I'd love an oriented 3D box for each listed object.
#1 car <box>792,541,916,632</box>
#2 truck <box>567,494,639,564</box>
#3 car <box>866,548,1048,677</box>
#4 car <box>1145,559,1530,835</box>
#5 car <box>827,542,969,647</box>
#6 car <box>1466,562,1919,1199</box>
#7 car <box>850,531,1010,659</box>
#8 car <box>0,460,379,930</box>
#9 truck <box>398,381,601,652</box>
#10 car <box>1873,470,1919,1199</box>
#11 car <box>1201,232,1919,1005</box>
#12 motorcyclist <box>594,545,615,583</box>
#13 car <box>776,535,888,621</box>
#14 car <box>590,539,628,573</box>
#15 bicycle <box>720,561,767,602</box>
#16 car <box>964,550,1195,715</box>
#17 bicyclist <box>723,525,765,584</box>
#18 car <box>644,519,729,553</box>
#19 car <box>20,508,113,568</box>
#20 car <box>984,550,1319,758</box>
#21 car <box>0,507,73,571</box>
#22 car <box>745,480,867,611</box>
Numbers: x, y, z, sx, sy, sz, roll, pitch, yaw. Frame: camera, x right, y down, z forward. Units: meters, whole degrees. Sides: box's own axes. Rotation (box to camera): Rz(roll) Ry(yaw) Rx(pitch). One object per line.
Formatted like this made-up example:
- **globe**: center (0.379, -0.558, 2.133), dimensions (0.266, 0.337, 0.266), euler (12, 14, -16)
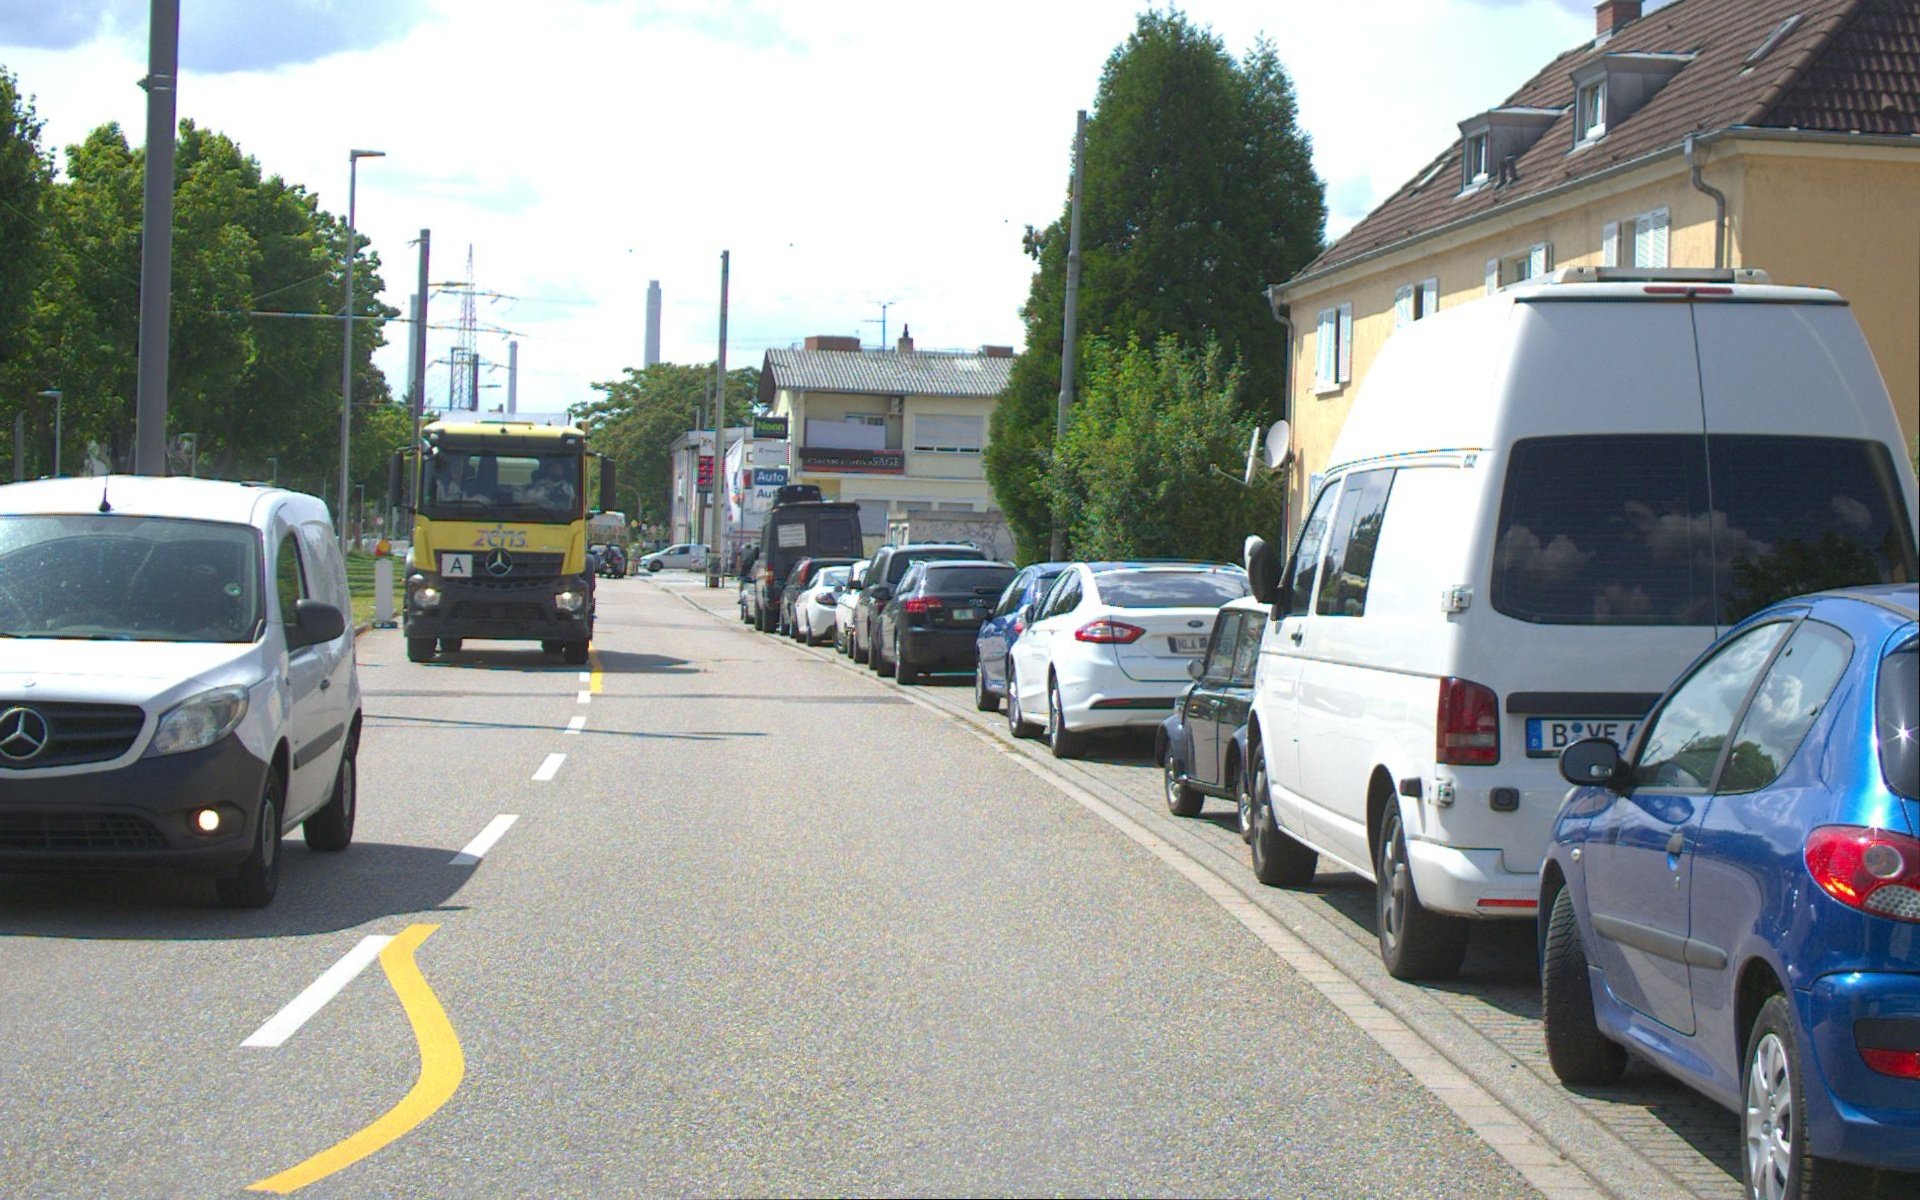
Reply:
- **car**: center (-1.797, -0.253, 57.139), dimensions (1.763, 1.435, 4.001), euler (0, 1, -6)
- **truck**: center (-18.542, -3.633, 177.845), dimensions (3.220, 3.390, 11.357), euler (1, 1, -8)
- **car**: center (-0.085, 0.110, 40.861), dimensions (1.763, 1.412, 4.001), euler (0, 1, -6)
- **car**: center (1.971, 0.469, 18.747), dimensions (1.341, 1.336, 3.288), euler (2, 0, -7)
- **car**: center (-0.956, -0.117, 50.960), dimensions (1.763, 1.471, 4.001), euler (0, 1, -6)
- **car**: center (2.360, 0.672, 8.500), dimensions (1.536, 1.440, 3.737), euler (2, 1, -1)
- **car**: center (-0.447, -0.106, 46.070), dimensions (1.763, 1.637, 4.001), euler (0, 1, -6)
- **car**: center (-3.717, 0.303, 15.257), dimensions (1.734, 1.767, 4.309), euler (2, 1, -3)
- **truck**: center (-6.291, -1.145, 47.480), dimensions (2.559, 3.447, 7.151), euler (0, 1, -7)
- **car**: center (2.452, 0.648, 3.915), dimensions (1.636, 1.597, 4.030), euler (2, 1, -1)
- **car**: center (2.267, 0.017, 13.856), dimensions (1.929, 2.472, 5.518), euler (1, 1, -3)
- **motorcyclist**: center (-16.078, -1.635, 155.526), dimensions (0.883, 1.661, 1.109), euler (2, 1, -7)
- **car**: center (-2.355, -0.424, 62.288), dimensions (1.763, 1.497, 4.001), euler (0, 1, -6)
- **car**: center (-16.439, -2.059, 160.824), dimensions (1.568, 1.493, 4.150), euler (2, 1, -8)
- **bicycle**: center (-5.915, -0.518, 93.973), dimensions (0.994, 1.045, 2.813), euler (2, 1, -9)
- **car**: center (1.053, 0.254, 32.117), dimensions (1.620, 1.412, 4.001), euler (0, 1, -6)
- **bicyclist**: center (-5.896, -1.256, 93.973), dimensions (0.994, 1.564, 1.140), euler (2, 1, -9)
- **car**: center (-15.798, -3.710, 198.375), dimensions (4.640, 1.816, 1.836), euler (2, 1, -11)
- **car**: center (-24.614, -1.701, 94.799), dimensions (1.878, 1.547, 4.399), euler (1, 1, -7)
- **car**: center (1.369, 0.357, 26.602), dimensions (1.798, 1.453, 4.766), euler (0, 1, -7)
- **car**: center (-23.535, -1.530, 86.273), dimensions (1.878, 1.547, 4.379), euler (1, 1, -7)
- **car**: center (-3.116, -1.103, 68.332), dimensions (1.959, 2.470, 6.061), euler (0, 1, -7)
